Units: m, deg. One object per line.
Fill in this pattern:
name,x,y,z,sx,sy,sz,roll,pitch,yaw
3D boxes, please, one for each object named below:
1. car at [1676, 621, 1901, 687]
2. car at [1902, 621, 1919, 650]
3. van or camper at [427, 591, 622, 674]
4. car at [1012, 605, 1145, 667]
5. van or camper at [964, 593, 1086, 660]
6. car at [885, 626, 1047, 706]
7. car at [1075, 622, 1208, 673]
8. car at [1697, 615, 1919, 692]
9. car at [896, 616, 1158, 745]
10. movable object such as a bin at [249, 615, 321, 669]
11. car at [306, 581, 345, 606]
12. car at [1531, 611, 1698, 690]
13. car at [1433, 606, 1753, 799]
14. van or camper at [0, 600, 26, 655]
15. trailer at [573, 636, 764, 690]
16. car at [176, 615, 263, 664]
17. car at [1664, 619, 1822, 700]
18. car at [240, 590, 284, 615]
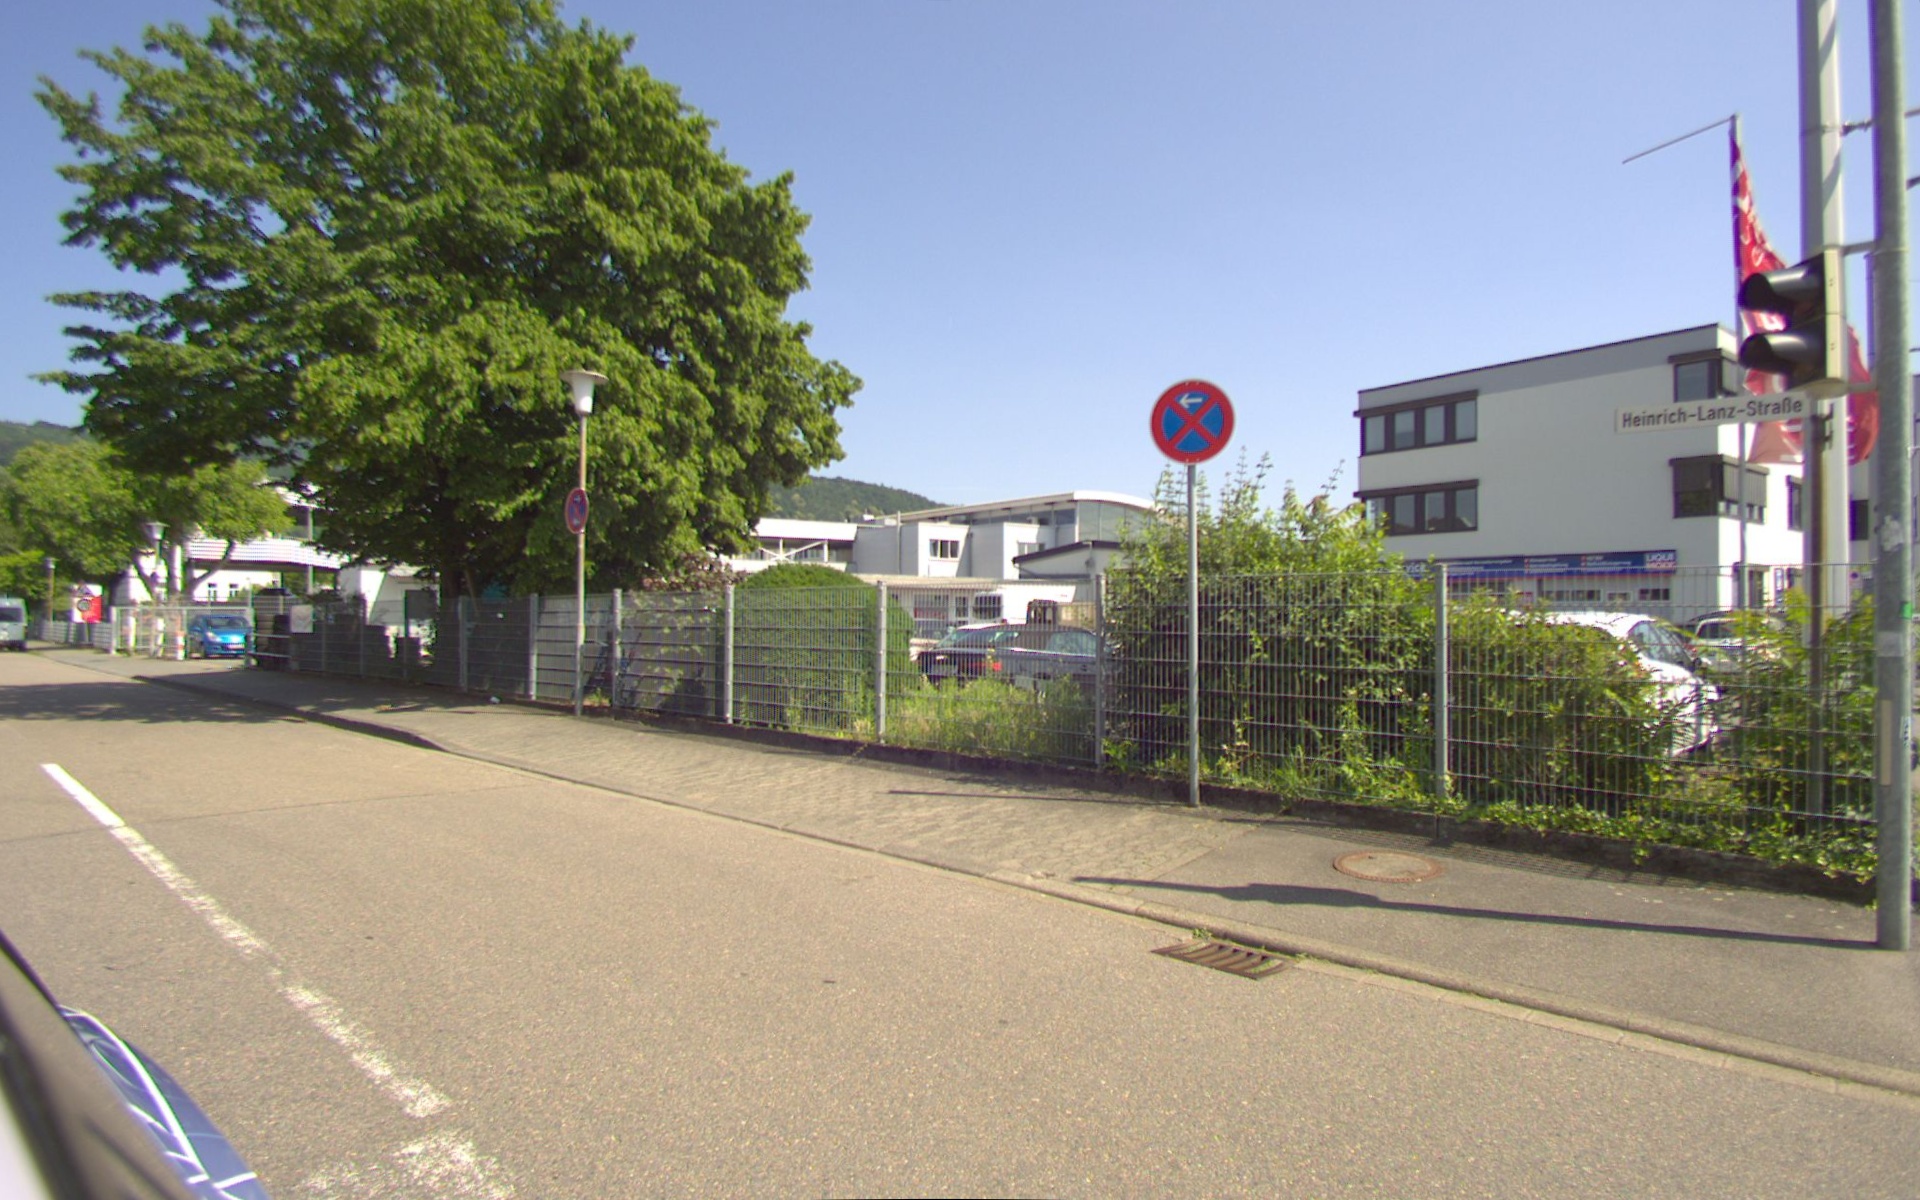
car,19.196,1.203,23.569,1.721,1.381,3.842,2,-2,-41
car,53.488,1.930,54.366,1.969,1.530,4.006,-2,1,-41
van or camper,-10.889,0.742,25.507,1.775,1.877,4.135,0,1,44
car,4.161,1.224,35.300,4.506,2.029,2.062,1,-2,-39
van or camper,2.452,0.943,37.235,4.530,2.323,1.784,1,-1,-41
car,0.167,1.268,20.561,1.654,1.484,3.035,-1,-2,44
car,6.086,1.545,33.750,4.354,1.569,1.996,2,-2,-39
car,20.813,1.248,24.917,1.969,1.719,4.005,2,-2,-42
car,1.062,1.031,14.310,1.855,1.553,3.785,-1,-2,39
movable object such as a bin,-18.653,1.116,27.964,1.363,1.368,2.106,-1,1,-42
car,-39.827,-0.399,63.539,1.680,1.469,3.537,-1,1,-26
car,14.325,1.051,22.101,3.871,1.580,1.861,1,-2,-37
car,6.136,0.838,9.616,3.896,1.444,1.714,3,-2,-44
van or camper,-43.632,1.194,45.444,4.685,2.395,2.001,0,-2,42
trailer,-5.673,1.190,19.877,1.613,0.946,3.245,-1,-2,44
car,-24.657,1.272,33.684,3.524,1.469,1.623,0,1,42
car,16.480,1.192,21.257,3.774,1.553,1.745,1,-2,-38
car,-41.965,0.175,60.938,1.680,1.469,3.536,1,-2,-27
